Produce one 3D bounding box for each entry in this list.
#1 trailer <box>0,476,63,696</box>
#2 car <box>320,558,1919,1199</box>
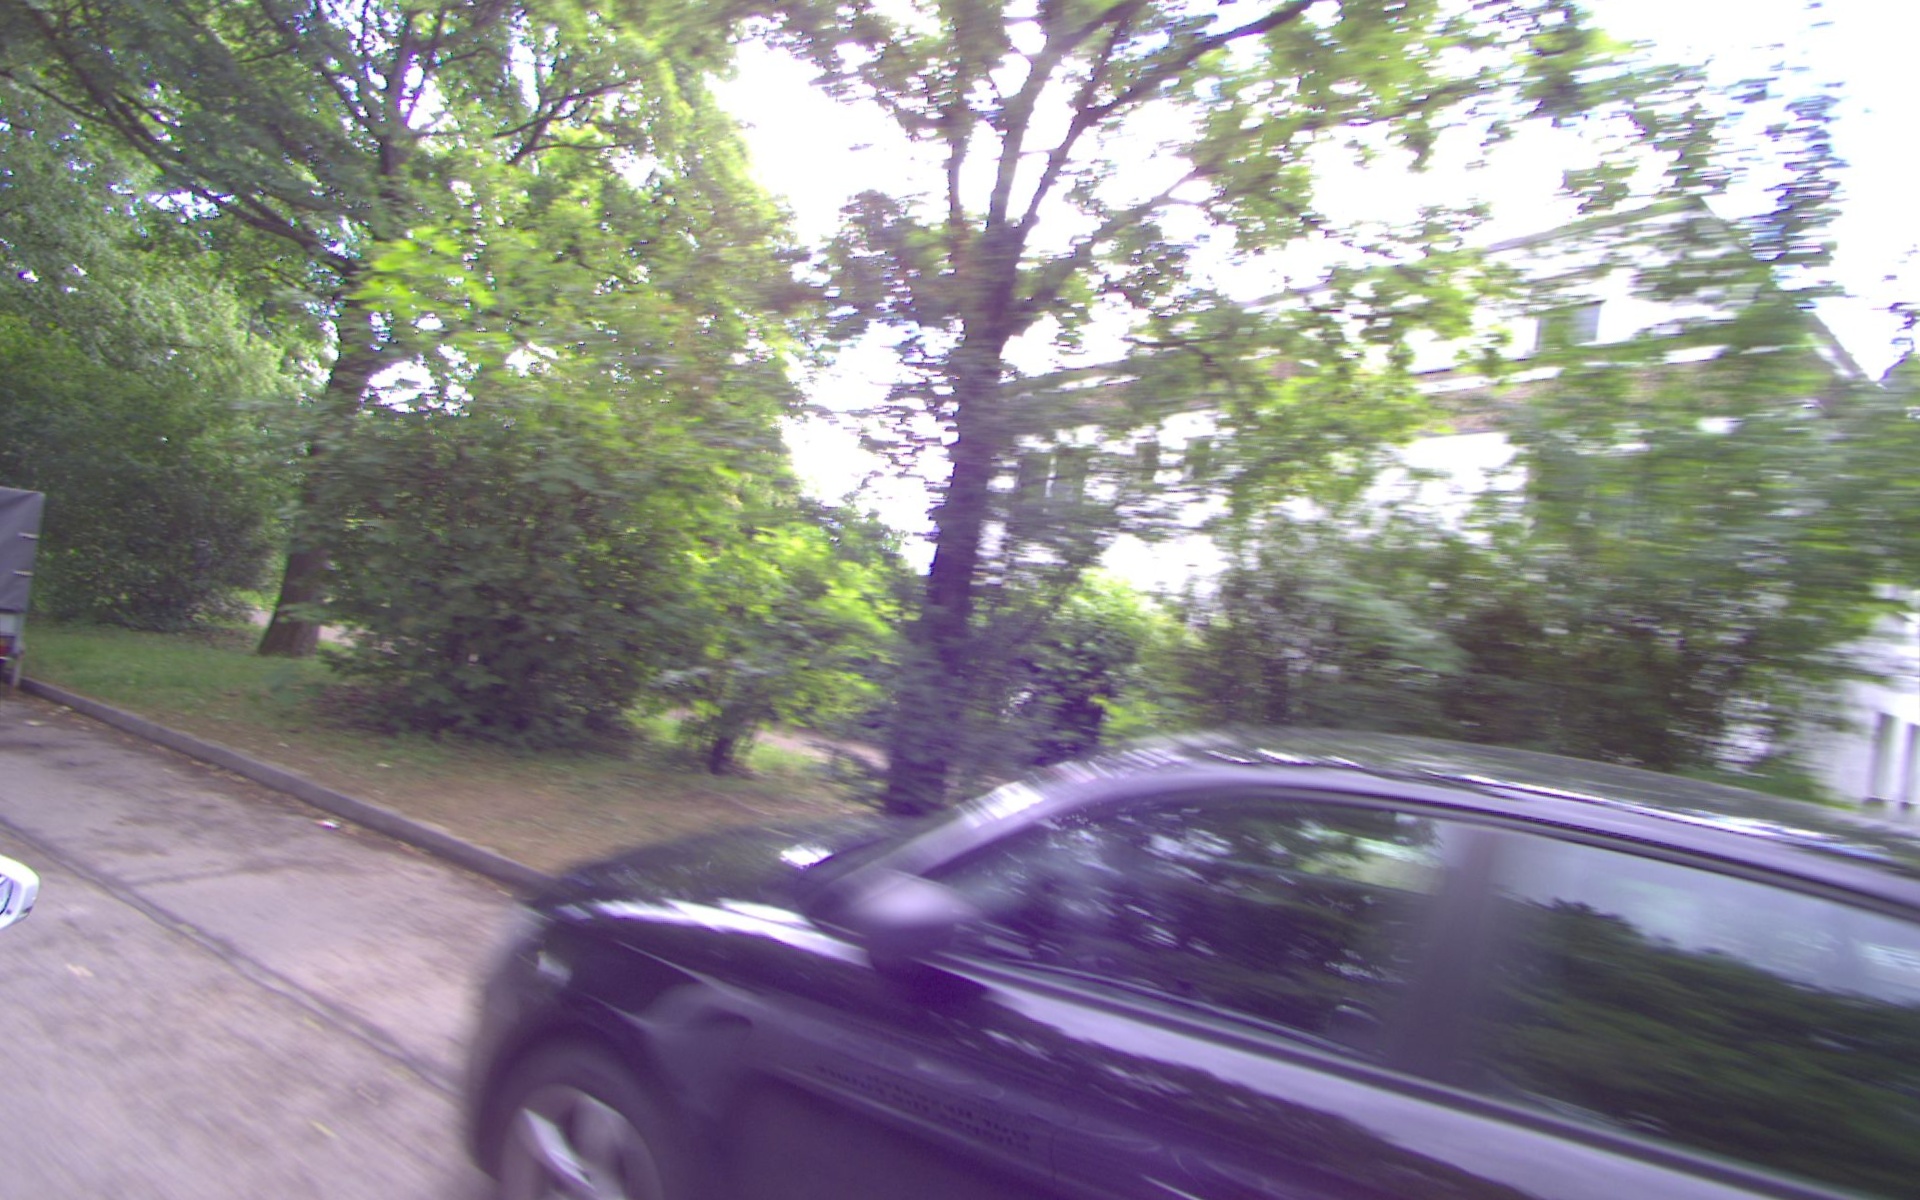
[{"bbox_3d":[-8.290,-0.269,7.679,2.418,1.603,1.282,7,-2,29],"label":"trailer"},{"bbox_3d":[0.750,0.931,2.059,3.850,1.469,1.726,7,-3,29],"label":"car"}]
